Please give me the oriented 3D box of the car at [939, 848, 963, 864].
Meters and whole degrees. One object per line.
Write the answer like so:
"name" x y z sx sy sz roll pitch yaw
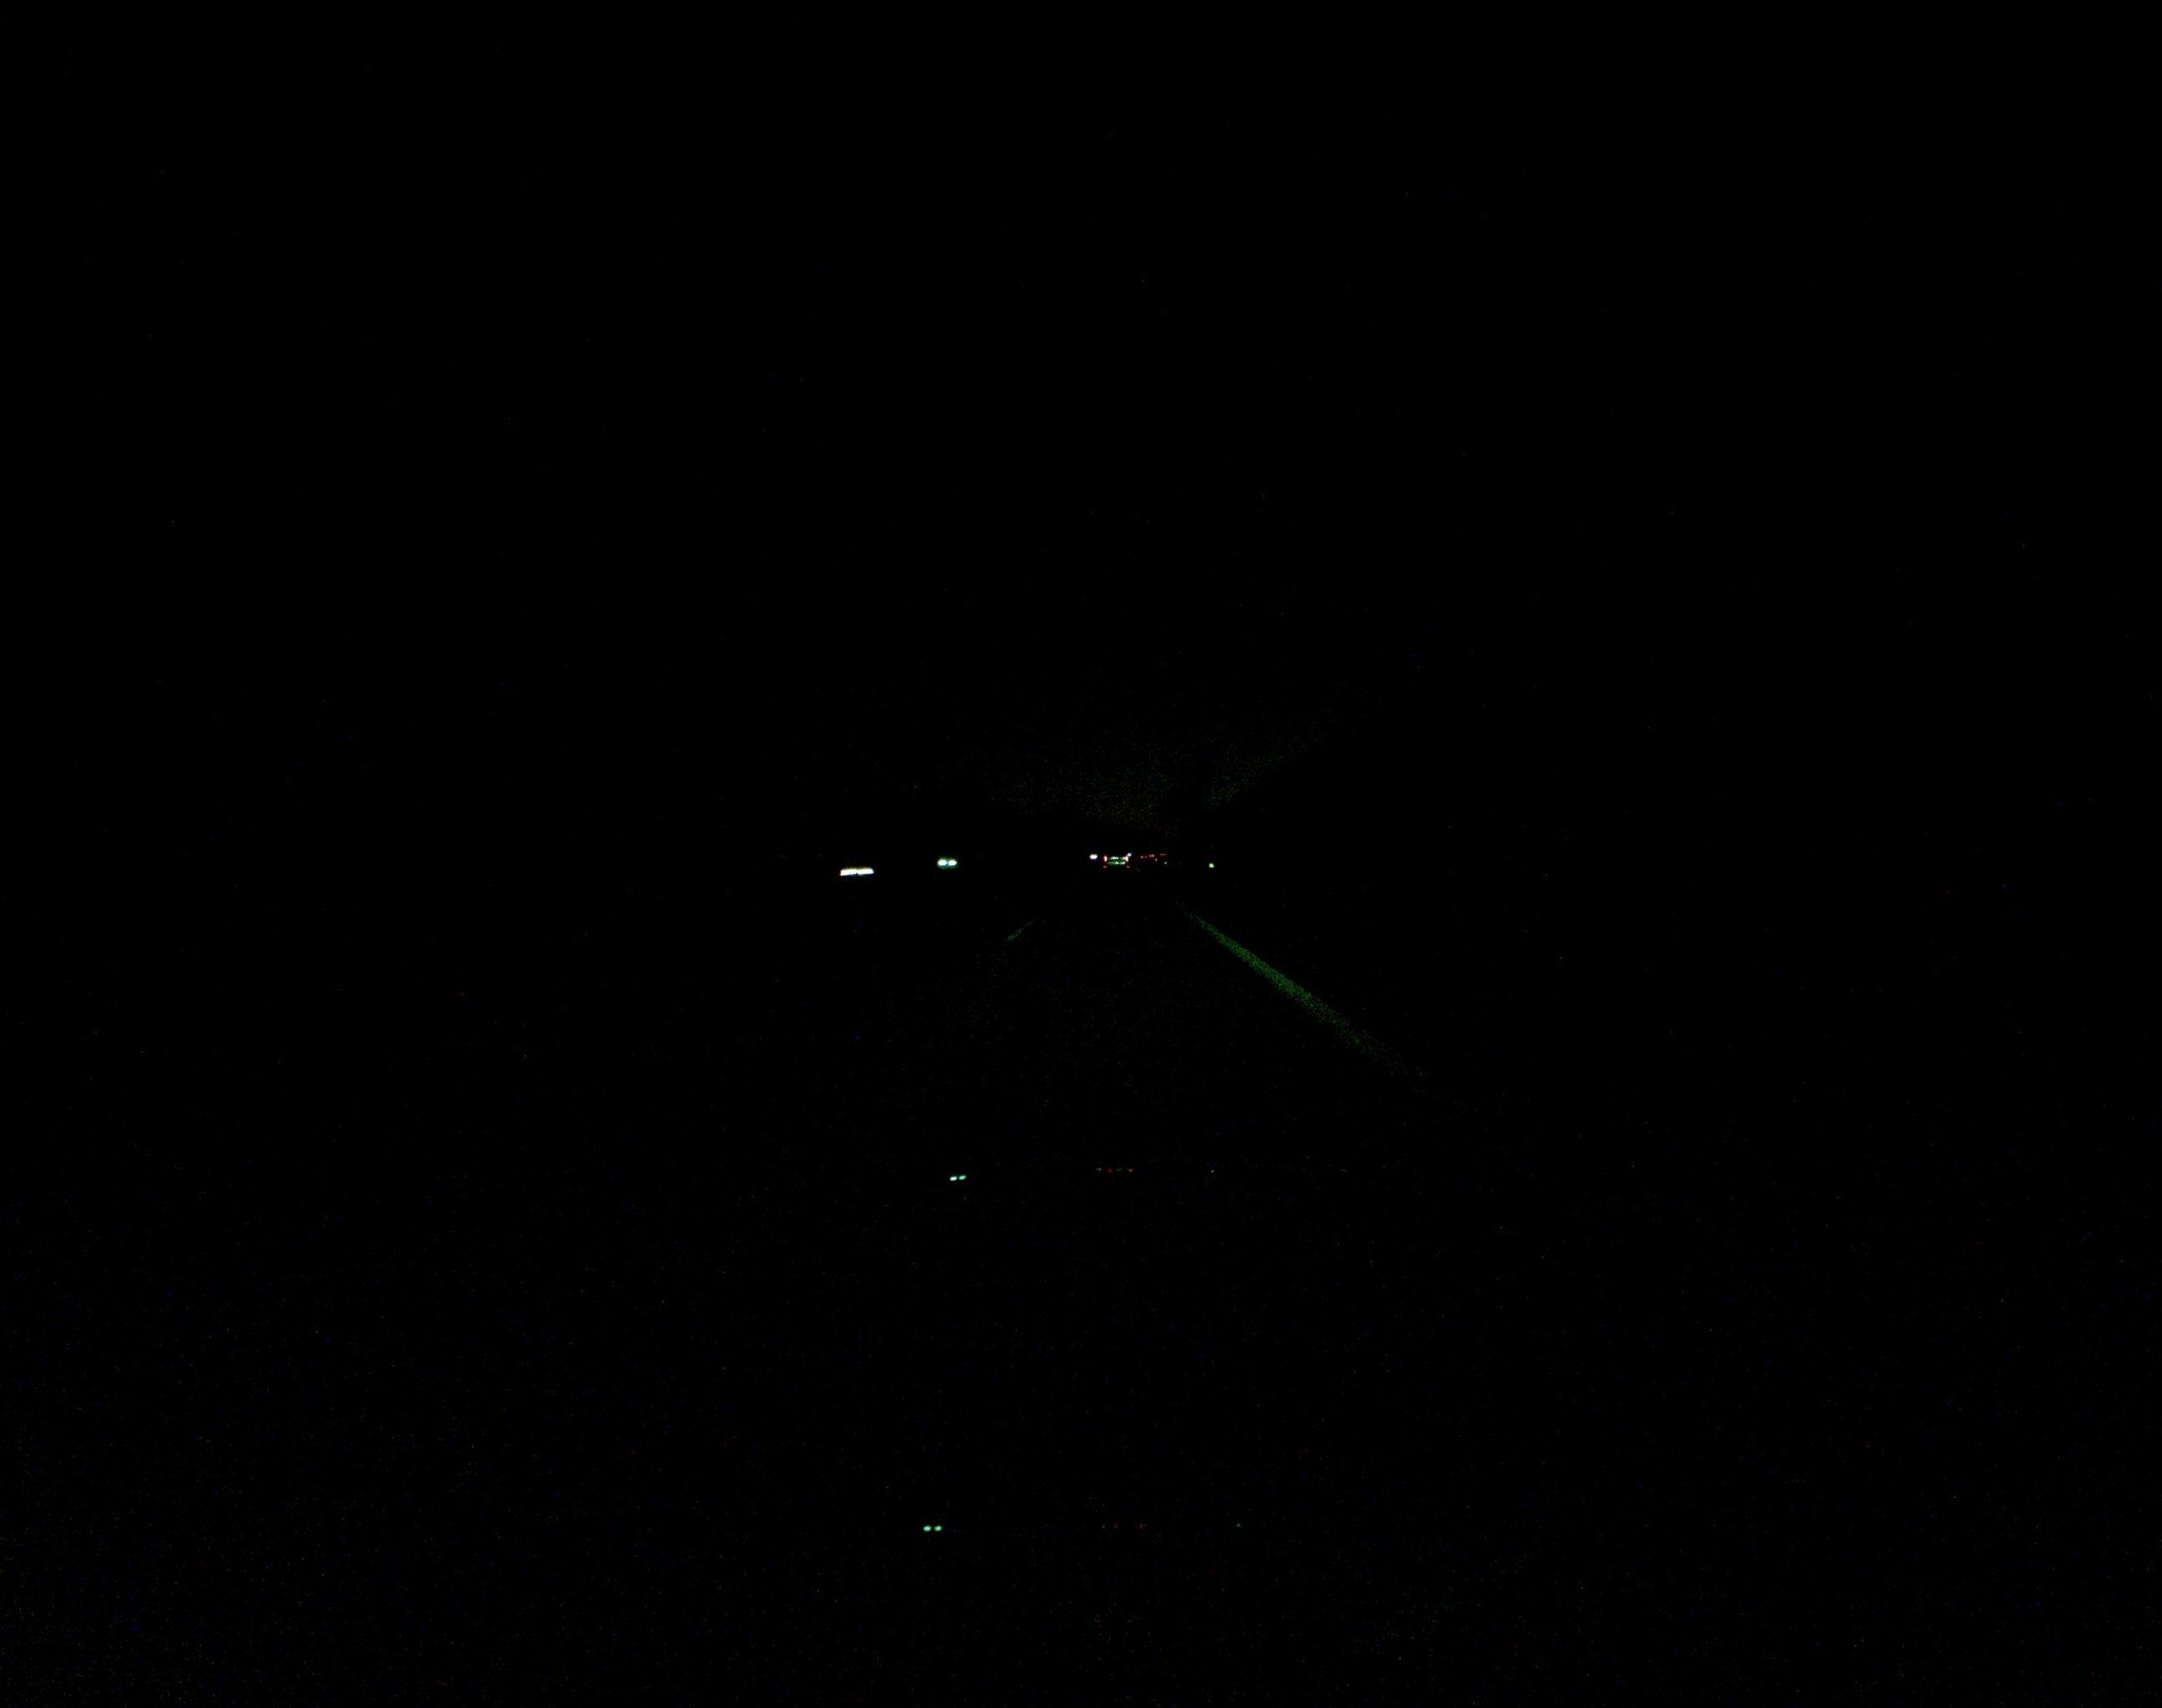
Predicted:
"car" -17.210 0.256 107.970 2.018 2.014 5.191 -1 -1 3

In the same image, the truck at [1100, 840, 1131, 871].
"truck" 3.025 0.150 72.929 2.620 2.624 8.687 -1 -1 2

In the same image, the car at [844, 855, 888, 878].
"car" -15.724 0.888 59.720 1.986 1.602 4.214 -1 -1 2
